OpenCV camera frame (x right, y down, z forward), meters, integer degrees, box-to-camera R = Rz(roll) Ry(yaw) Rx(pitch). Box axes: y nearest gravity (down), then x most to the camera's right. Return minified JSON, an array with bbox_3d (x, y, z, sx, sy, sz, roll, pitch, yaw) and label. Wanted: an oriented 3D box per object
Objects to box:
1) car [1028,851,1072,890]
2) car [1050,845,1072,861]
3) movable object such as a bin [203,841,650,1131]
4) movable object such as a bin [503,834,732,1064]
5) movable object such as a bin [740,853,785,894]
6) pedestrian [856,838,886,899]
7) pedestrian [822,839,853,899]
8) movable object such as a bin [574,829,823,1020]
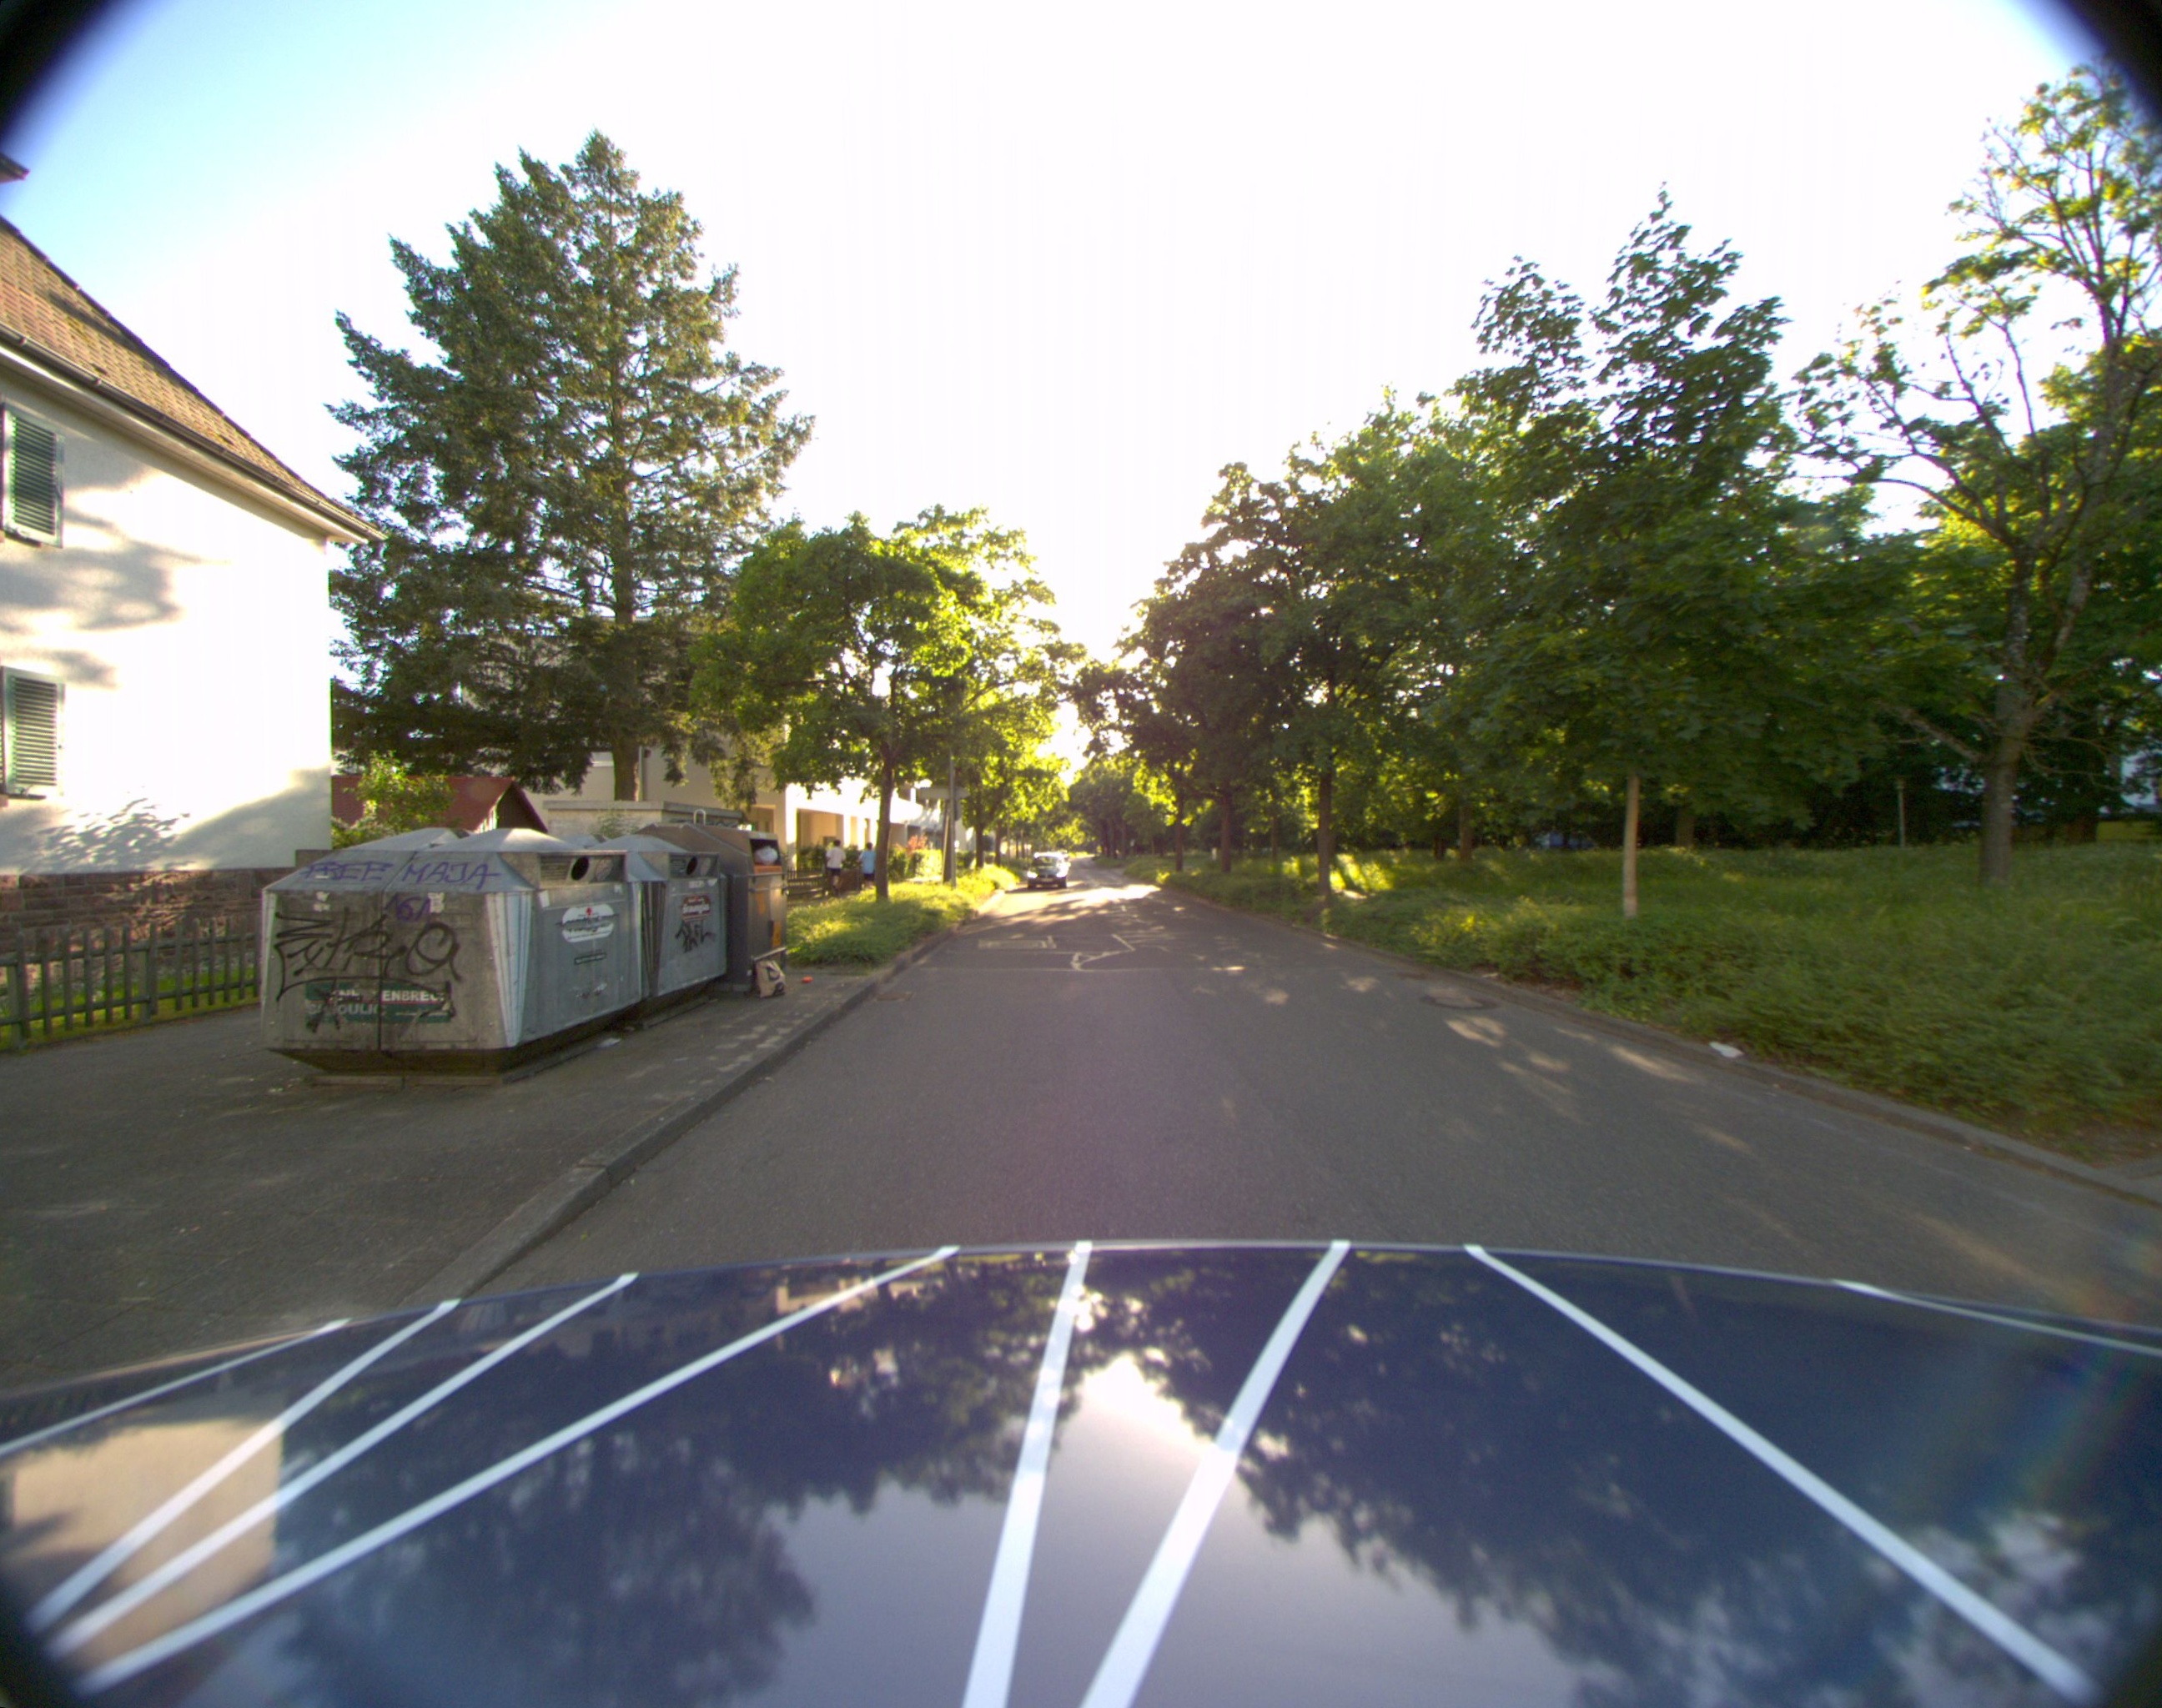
[{"bbox_3d":[-1.501,0.711,35.972,1.890,1.613,4.616,-1,1,-3],"label":"car"},{"bbox_3d":[-2.009,-0.104,76.929,1.998,1.531,3.999,-1,1,0],"label":"car"},{"bbox_3d":[-4.250,0.753,5.230,1.590,1.648,1.639,-1,1,-2],"label":"movable object such as a bin"},{"bbox_3d":[-4.030,0.749,6.785,1.150,1.817,1.386,-1,1,-2],"label":"movable object such as a bin"},{"bbox_3d":[-11.584,0.696,27.670,1.081,1.419,1.365,1,1,-3],"label":"movable object such as a bin"},{"bbox_3d":[-6.729,0.453,24.369,0.674,1.883,0.895,-1,1,-1],"label":"pedestrian"},{"bbox_3d":[-7.843,0.479,24.515,0.644,1.883,1.018,-1,1,-1],"label":"pedestrian"},{"bbox_3d":[-4.007,0.686,8.206,1.926,1.843,1.393,-1,1,-2],"label":"movable object such as a bin"}]
